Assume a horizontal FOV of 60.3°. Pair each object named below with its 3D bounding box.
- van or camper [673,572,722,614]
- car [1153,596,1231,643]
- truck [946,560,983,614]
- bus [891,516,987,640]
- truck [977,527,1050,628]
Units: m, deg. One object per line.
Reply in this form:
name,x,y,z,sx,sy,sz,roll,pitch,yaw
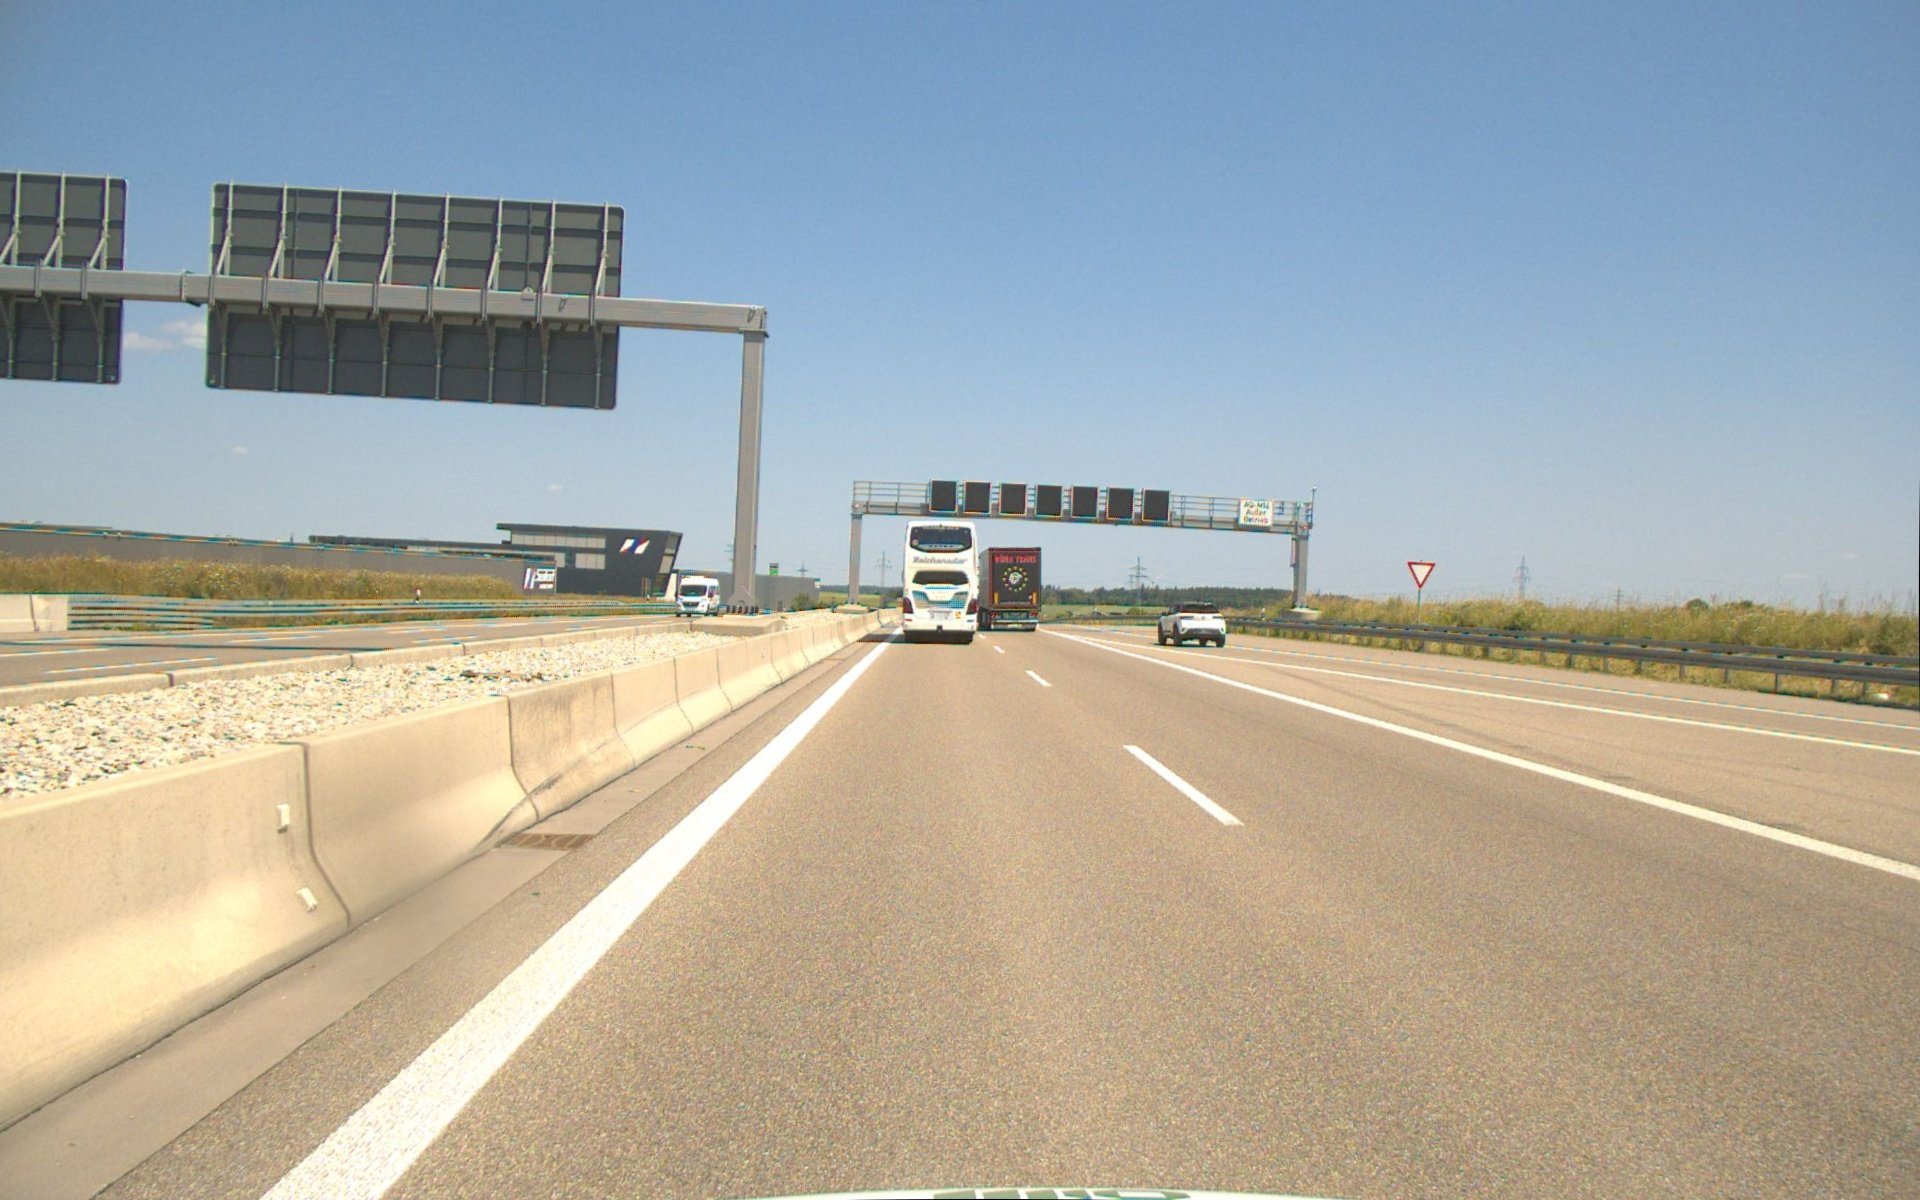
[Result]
van or camper,-16.833,-0.461,106.207,2.272,2.603,6.314,1,0,-2
car,8.240,0.665,59.096,1.854,1.556,4.258,1,0,-4
truck,0.296,-0.923,122.435,2.388,3.855,6.490,1,0,-2
bus,-0.882,-0.802,59.055,2.921,4.044,9.099,1,1,-4
truck,2.614,-0.950,85.372,3.310,4.542,13.565,2,-2,0
